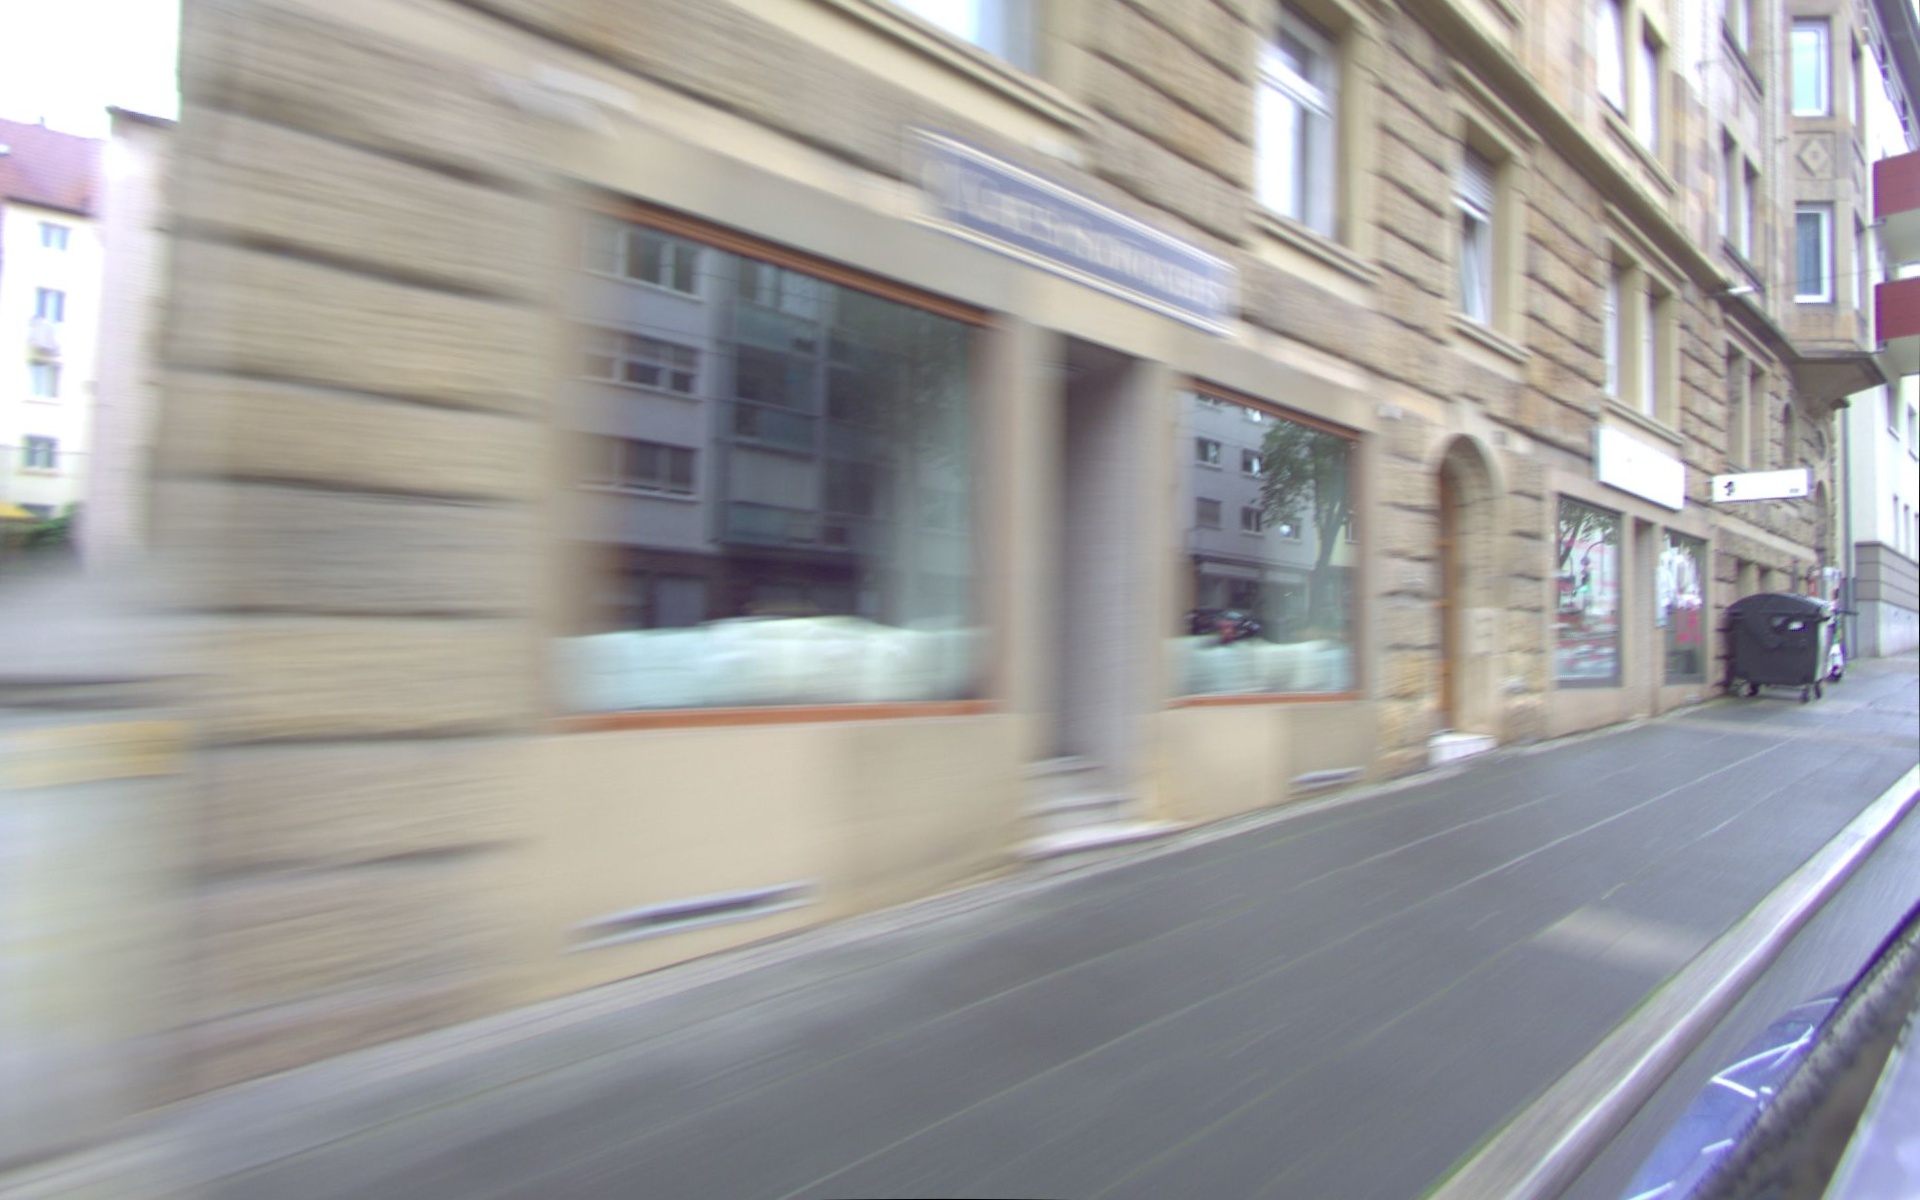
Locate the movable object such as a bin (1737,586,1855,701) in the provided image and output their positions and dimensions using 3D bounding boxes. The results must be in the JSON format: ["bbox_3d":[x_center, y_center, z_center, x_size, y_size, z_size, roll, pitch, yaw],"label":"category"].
[{"bbox_3d":[11.515,0.552,13.938,1.369,1.469,1.011,0,2,-40],"label":"movable object such as a bin"}]

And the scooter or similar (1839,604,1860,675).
[{"bbox_3d":[14.883,0.644,16.943,0.209,1.125,0.879,1,2,39],"label":"scooter or similar"}]
